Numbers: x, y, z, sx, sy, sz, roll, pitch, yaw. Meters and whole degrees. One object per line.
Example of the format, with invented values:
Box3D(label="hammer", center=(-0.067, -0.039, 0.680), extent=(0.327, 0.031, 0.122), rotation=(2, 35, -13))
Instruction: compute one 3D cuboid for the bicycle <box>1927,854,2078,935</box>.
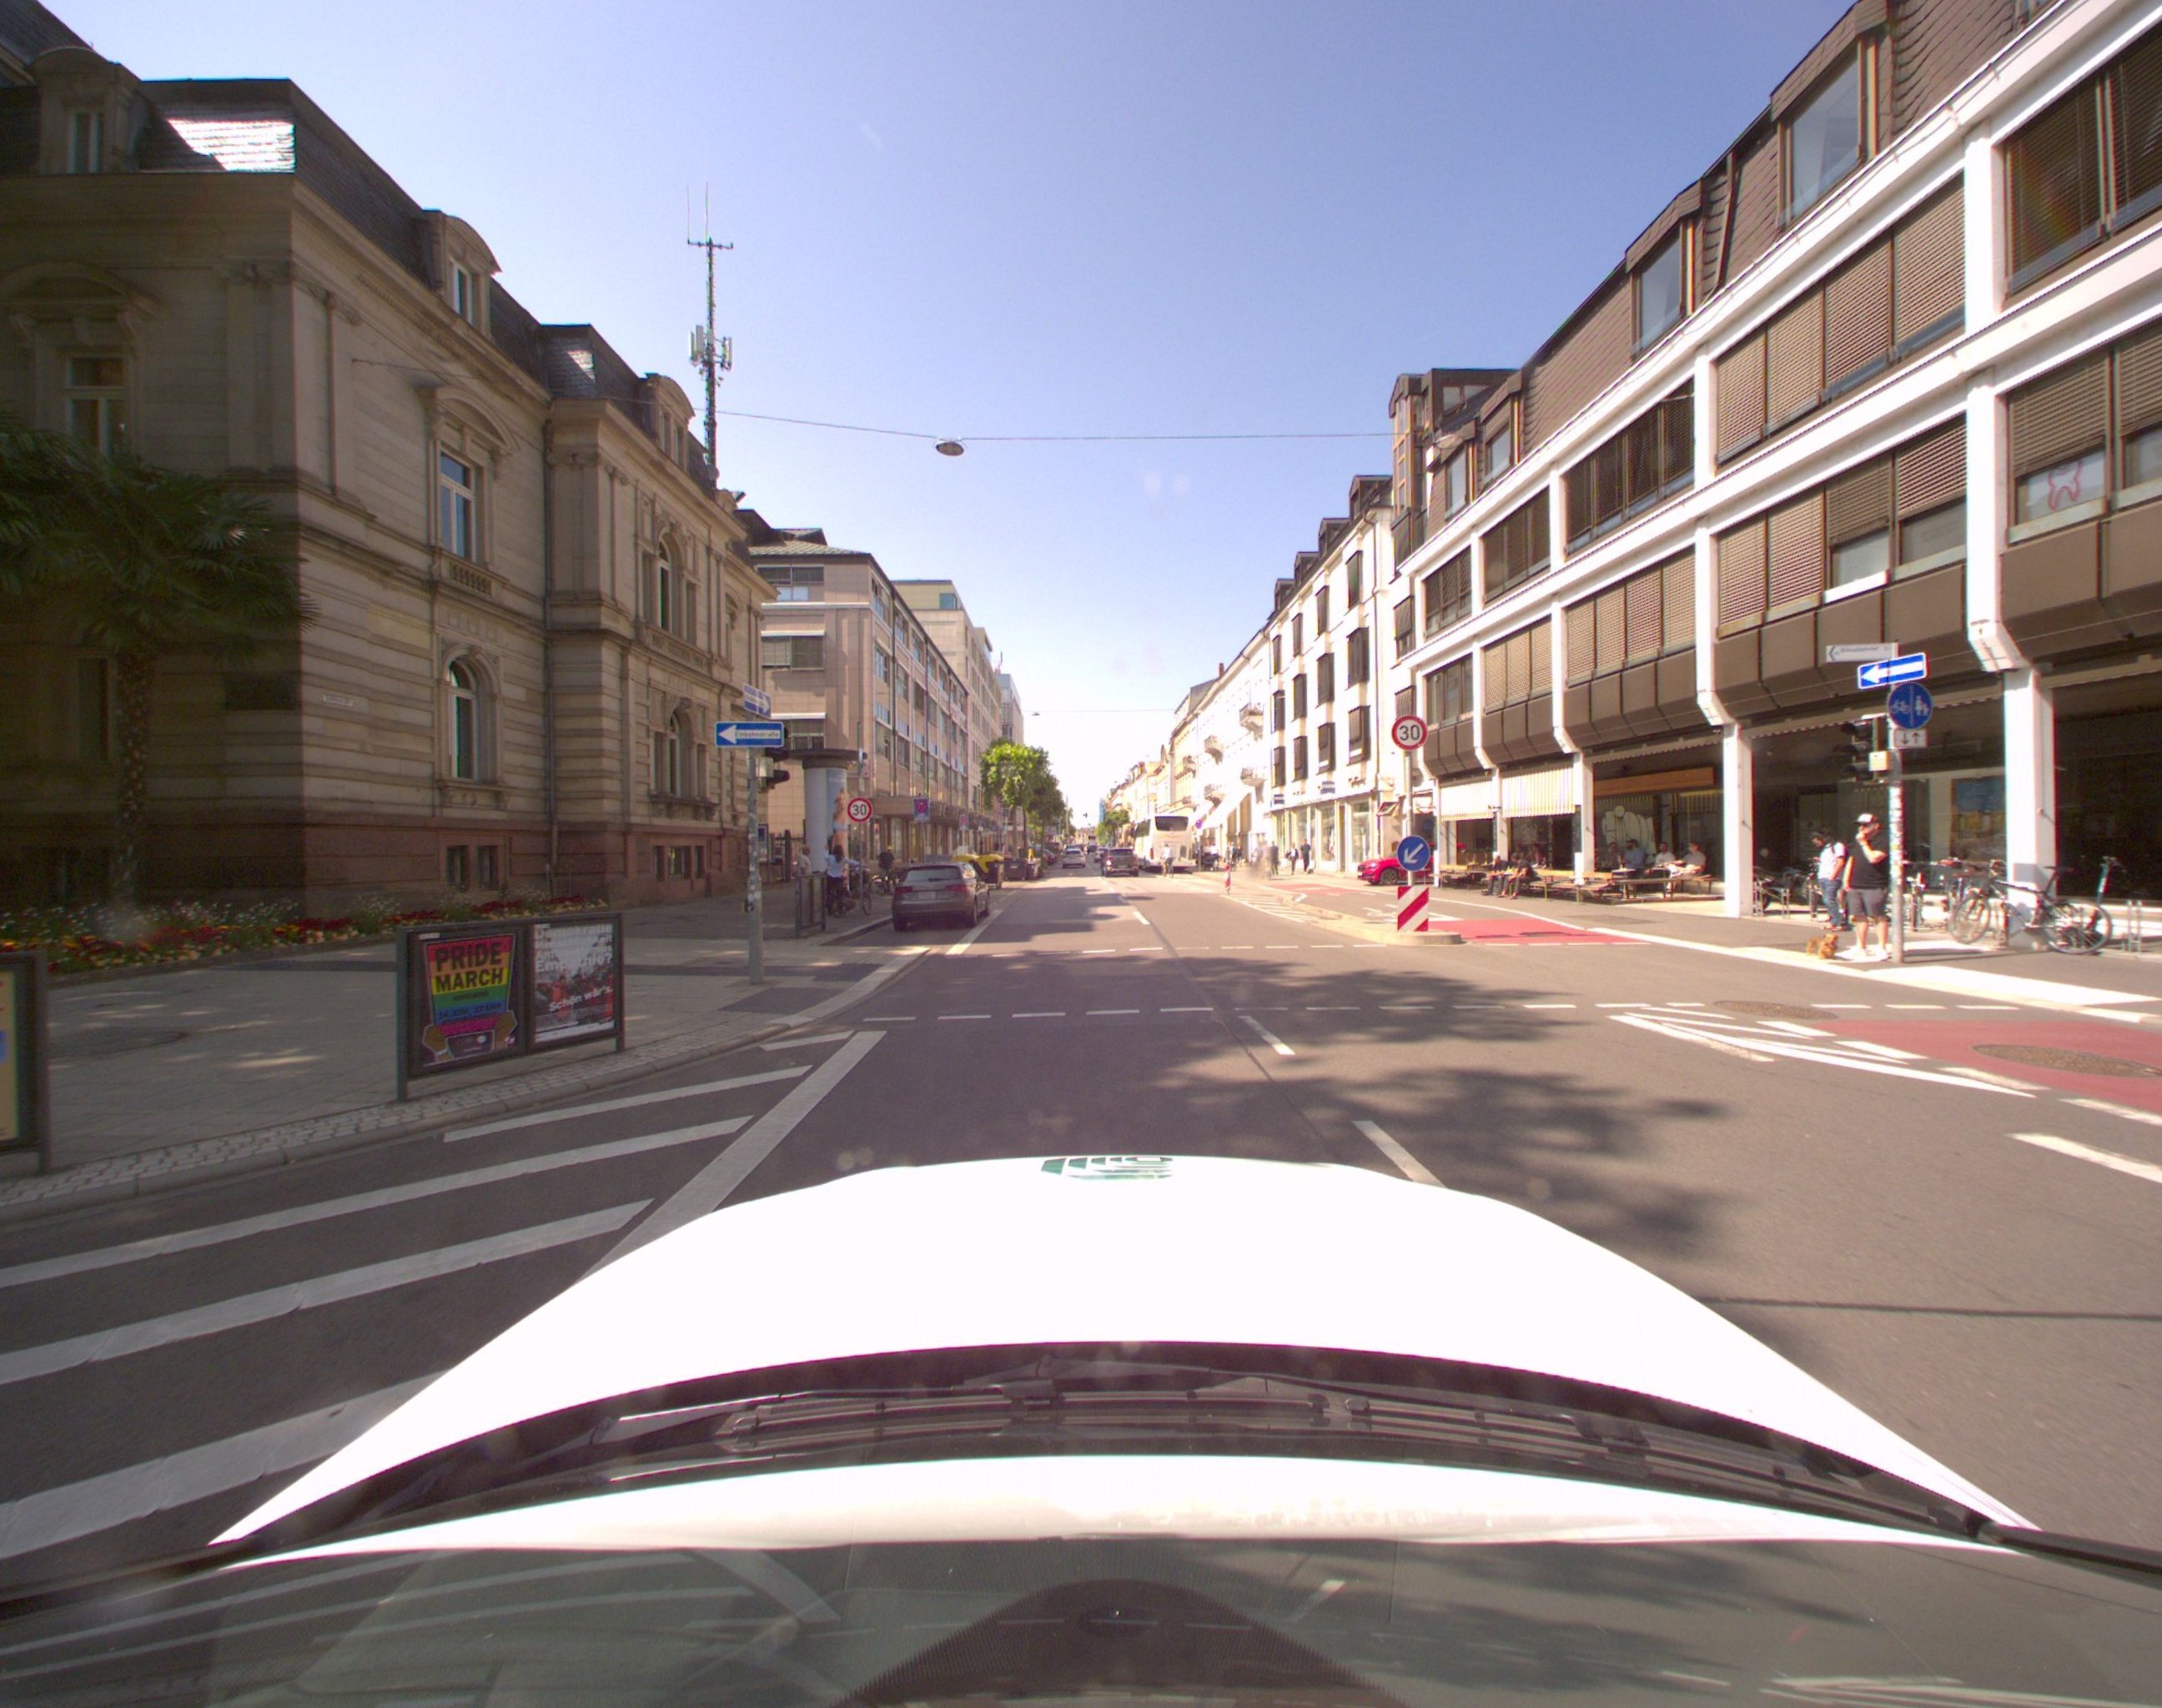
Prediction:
Box3D(label="bicycle", center=(13.448, 0.586, 11.908), extent=(1.708, 1.120, 0.278), rotation=(-2, 0, 6))

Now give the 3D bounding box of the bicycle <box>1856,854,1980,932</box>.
Box3D(label="bicycle", center=(13.140, 0.606, 12.799), extent=(1.537, 1.207, 0.278), rotation=(-1, 0, 6))

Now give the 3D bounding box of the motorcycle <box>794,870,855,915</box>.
Box3D(label="motorcycle", center=(-6.206, 0.908, 19.832), extent=(0.451, 0.998, 2.166), rotation=(1, 0, 9))

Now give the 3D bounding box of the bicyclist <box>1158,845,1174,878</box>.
Box3D(label="bicyclist", center=(4.396, 0.381, 42.177), extent=(0.692, 1.673, 0.916), rotation=(1, 1, 1))

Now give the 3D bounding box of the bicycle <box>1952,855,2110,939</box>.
Box3D(label="bicycle", center=(13.409, 0.601, 11.513), extent=(1.708, 1.120, 0.278), rotation=(-2, 0, 6))

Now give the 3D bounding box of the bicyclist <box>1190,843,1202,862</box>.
Box3D(label="bicyclist", center=(8.412, -0.107, 59.567), extent=(0.785, 1.379, 0.722), rotation=(0, 0, -2))

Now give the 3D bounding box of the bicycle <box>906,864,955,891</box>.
Box3D(label="bicycle", center=(-6.301, 0.974, 34.136), extent=(1.963, 1.120, 0.508), rotation=(0, -1, -5))

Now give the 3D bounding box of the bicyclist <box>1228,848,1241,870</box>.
Box3D(label="bicyclist", center=(9.197, 0.290, 48.794), extent=(0.619, 1.296, 0.866), rotation=(0, 0, -2))

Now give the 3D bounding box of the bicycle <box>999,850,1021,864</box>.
Box3D(label="bicycle", center=(-6.929, 0.287, 79.124), extent=(2.063, 1.288, 0.366), rotation=(2, -1, -8))

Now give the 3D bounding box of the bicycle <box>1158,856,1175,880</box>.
Box3D(label="bicycle", center=(4.429, 0.701, 42.299), extent=(0.662, 1.120, 2.243), rotation=(1, 1, 0))

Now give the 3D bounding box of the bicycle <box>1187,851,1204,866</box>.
Box3D(label="bicycle", center=(8.396, 0.333, 59.652), extent=(0.836, 1.099, 2.351), rotation=(0, 0, -2))

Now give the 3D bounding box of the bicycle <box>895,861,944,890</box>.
Box3D(label="bicycle", center=(-6.505, 0.882, 32.917), extent=(1.840, 1.073, 0.555), rotation=(-3, -3, -5))

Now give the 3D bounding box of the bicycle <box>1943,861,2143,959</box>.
Box3D(label="bicycle", center=(12.635, 0.672, 10.811), extent=(0.275, 1.120, 2.248), rotation=(-1, 1, 8))

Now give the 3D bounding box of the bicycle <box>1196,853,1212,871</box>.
Box3D(label="bicycle", center=(7.888, 0.501, 52.392), extent=(0.618, 1.099, 2.351), rotation=(0, 0, -2))

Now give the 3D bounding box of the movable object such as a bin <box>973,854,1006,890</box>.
Box3D(label="movable object such as a bin", center=(-3.886, 0.752, 34.841), extent=(1.118, 1.450, 1.441), rotation=(1, 1, 5))

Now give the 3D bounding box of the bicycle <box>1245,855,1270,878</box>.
Box3D(label="bicycle", center=(8.649, 0.610, 40.013), extent=(0.618, 1.099, 2.351), rotation=(0, 0, -2))

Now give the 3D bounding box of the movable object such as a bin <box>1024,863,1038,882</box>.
Box3D(label="movable object such as a bin", center=(-2.629, 0.964, 43.050), extent=(0.556, 0.939, 0.496), rotation=(-3, 1, -27))

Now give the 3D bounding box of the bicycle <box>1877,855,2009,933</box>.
Box3D(label="bicycle", center=(13.136, 0.604, 12.431), extent=(1.562, 1.120, 0.278), rotation=(-2, 0, 6))

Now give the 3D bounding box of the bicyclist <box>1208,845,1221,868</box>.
Box3D(label="bicyclist", center=(7.872, 0.132, 48.060), extent=(0.619, 1.370, 0.780), rotation=(0, 0, -2))

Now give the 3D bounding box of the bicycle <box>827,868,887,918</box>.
Box3D(label="bicycle", center=(-5.353, 0.908, 19.615), extent=(0.426, 1.120, 2.249), rotation=(1, -1, 11))

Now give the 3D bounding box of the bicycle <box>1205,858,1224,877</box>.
Box3D(label="bicycle", center=(7.874, 0.782, 48.128), extent=(0.618, 1.099, 2.351), rotation=(0, 0, -2))

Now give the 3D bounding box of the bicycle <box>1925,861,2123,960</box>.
Box3D(label="bicycle", center=(12.282, 0.681, 10.721), extent=(0.275, 1.120, 2.248), rotation=(-1, 1, 8))

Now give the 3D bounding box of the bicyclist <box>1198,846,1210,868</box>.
Box3D(label="bicyclist", center=(7.927, 0.206, 52.385), extent=(0.619, 1.370, 0.780), rotation=(0, 0, -2))

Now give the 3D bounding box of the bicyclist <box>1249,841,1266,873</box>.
Box3D(label="bicyclist", center=(8.635, 0.149, 39.941), extent=(0.619, 1.529, 0.868), rotation=(0, 0, -2))

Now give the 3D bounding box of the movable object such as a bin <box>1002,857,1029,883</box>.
Box3D(label="movable object such as a bin", center=(-3.326, 0.798, 41.570), extent=(1.273, 1.299, 0.853), rotation=(0, 0, -1))

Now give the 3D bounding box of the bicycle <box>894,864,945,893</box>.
Box3D(label="bicycle", center=(-6.633, 0.999, 33.509), extent=(1.970, 1.120, 0.508), rotation=(1, -1, -5))

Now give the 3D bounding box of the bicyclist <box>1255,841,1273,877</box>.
Box3D(label="bicyclist", center=(8.376, 0.241, 37.293), extent=(0.690, 1.625, 0.837), rotation=(-1, 0, 9))

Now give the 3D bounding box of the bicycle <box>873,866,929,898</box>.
Box3D(label="bicycle", center=(-6.596, 1.017, 29.878), extent=(1.961, 1.120, 0.554), rotation=(1, -1, -12))

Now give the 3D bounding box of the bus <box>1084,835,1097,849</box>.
Box3D(label="bus", center=(2.415, -3.111, 217.426), extent=(2.764, 3.605, 8.963), rotation=(-1, 1, -3))

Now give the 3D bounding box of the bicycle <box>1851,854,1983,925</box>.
Box3D(label="bicycle", center=(13.837, 0.580, 13.478), extent=(2.234, 1.120, 0.277), rotation=(-1, 0, -8))

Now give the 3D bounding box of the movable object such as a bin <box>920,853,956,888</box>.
Box3D(label="movable object such as a bin", center=(-6.151, 0.687, 35.145), extent=(1.203, 1.450, 1.366), rotation=(1, 1, 5))

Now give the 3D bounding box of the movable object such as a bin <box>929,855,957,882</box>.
Box3D(label="movable object such as a bin", center=(-6.981, 0.726, 41.377), extent=(1.205, 1.299, 1.127), rotation=(1, 1, -1))

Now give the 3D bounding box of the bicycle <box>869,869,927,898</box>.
Box3D(label="bicycle", center=(-6.528, 1.058, 29.157), extent=(1.964, 1.017, 0.668), rotation=(1, -1, -12))

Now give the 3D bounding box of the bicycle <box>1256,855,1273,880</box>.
Box3D(label="bicycle", center=(8.454, 0.615, 37.519), extent=(0.591, 1.120, 1.805), rotation=(-1, 0, 7))

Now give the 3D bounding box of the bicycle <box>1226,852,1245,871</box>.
Box3D(label="bicycle", center=(9.204, 0.447, 48.647), extent=(0.618, 1.099, 2.351), rotation=(0, 0, -2))

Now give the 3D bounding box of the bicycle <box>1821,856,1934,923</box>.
Box3D(label="bicycle", center=(13.800, 0.600, 14.096), extent=(2.239, 1.097, 0.276), rotation=(-1, 0, -14))

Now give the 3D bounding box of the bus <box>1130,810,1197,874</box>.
Box3D(label="bus", center=(5.260, -0.725, 54.395), extent=(2.873, 3.742, 12.419), rotation=(1, 0, -1))

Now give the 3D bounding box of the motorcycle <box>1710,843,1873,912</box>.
Box3D(label="motorcycle", center=(13.865, 0.462, 15.993), extent=(2.215, 1.290, 0.954), rotation=(-2, -1, 27))

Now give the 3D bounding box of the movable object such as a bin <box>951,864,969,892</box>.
Box3D(label="movable object such as a bin", center=(-4.960, 0.968, 33.411), extent=(0.722, 1.098, 0.655), rotation=(1, 1, -8))

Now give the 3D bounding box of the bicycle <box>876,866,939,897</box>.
Box3D(label="bicycle", center=(-6.488, 1.019, 30.536), extent=(2.237, 1.120, 0.554), rotation=(1, -1, -12))
